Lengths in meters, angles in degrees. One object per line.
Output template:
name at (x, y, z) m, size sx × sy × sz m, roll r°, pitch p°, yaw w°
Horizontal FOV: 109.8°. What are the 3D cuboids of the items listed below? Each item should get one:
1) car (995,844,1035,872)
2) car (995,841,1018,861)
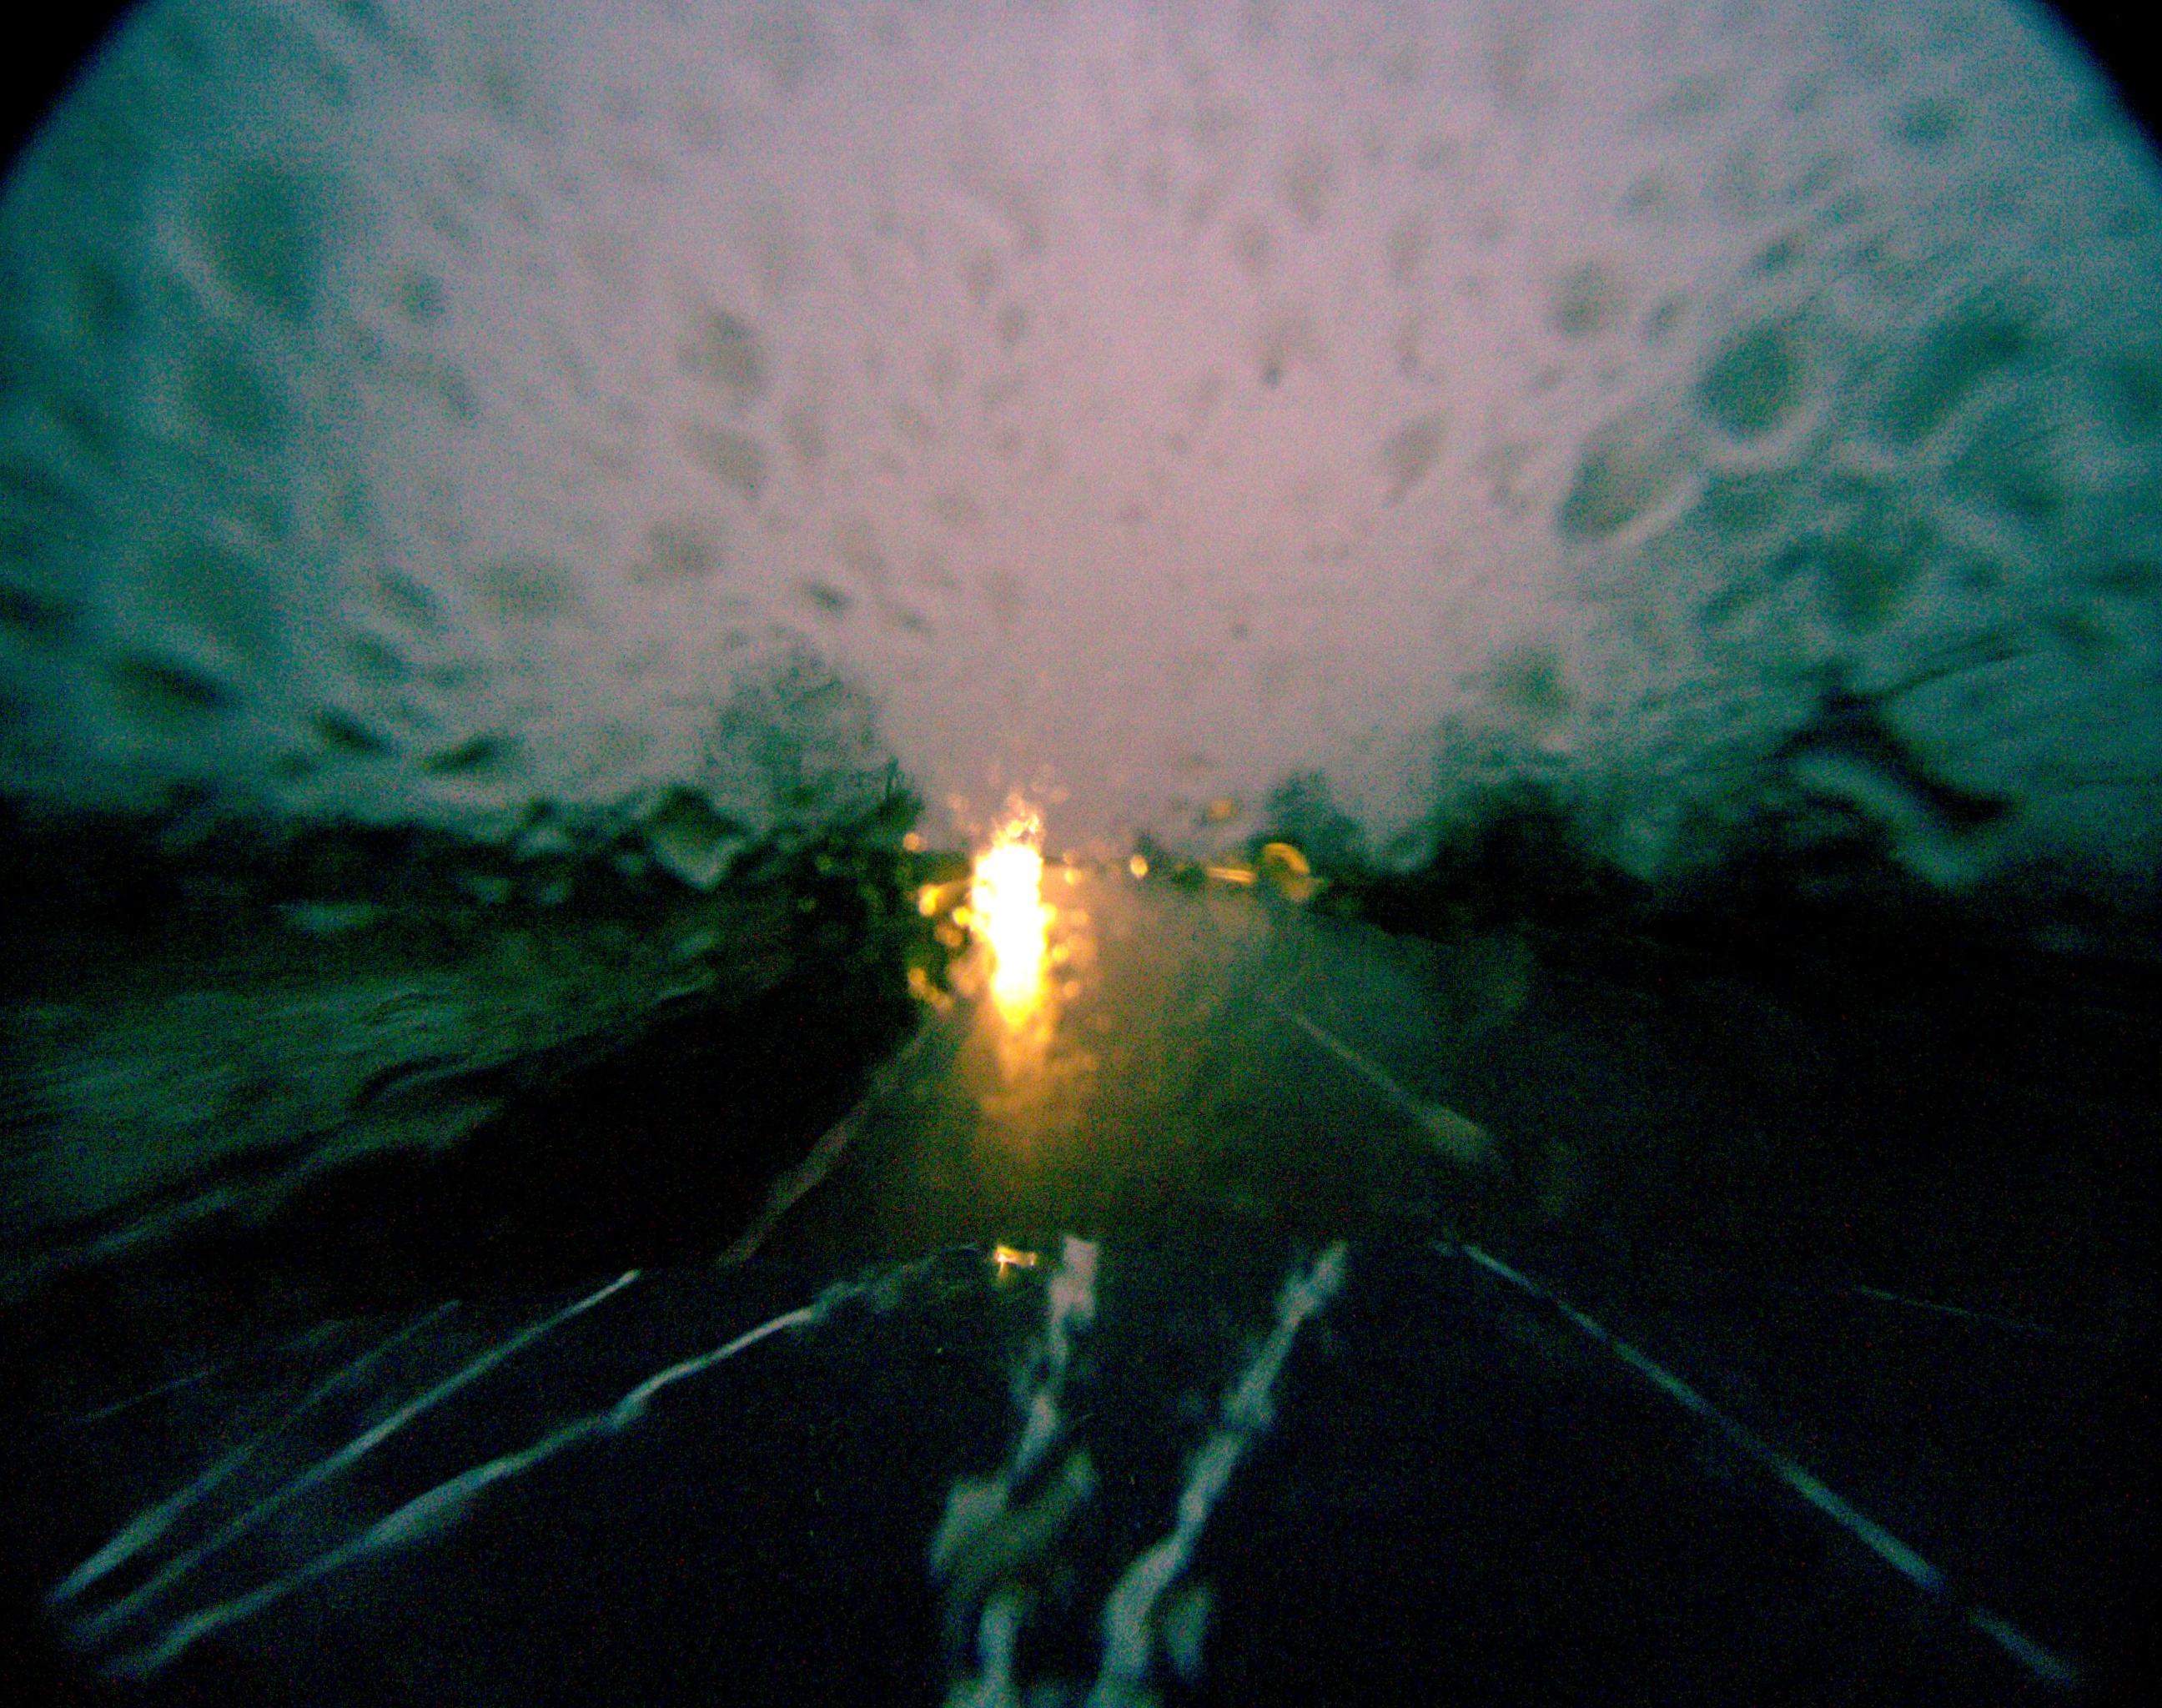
car at (-4.039, 0.286, 45.578) m, size 2.104 × 1.565 × 4.797 m, roll 1°, pitch -2°, yaw -8°
car at (-7.270, -0.317, 73.450) m, size 1.889 × 1.853 × 5.001 m, roll -1°, pitch 1°, yaw -9°
